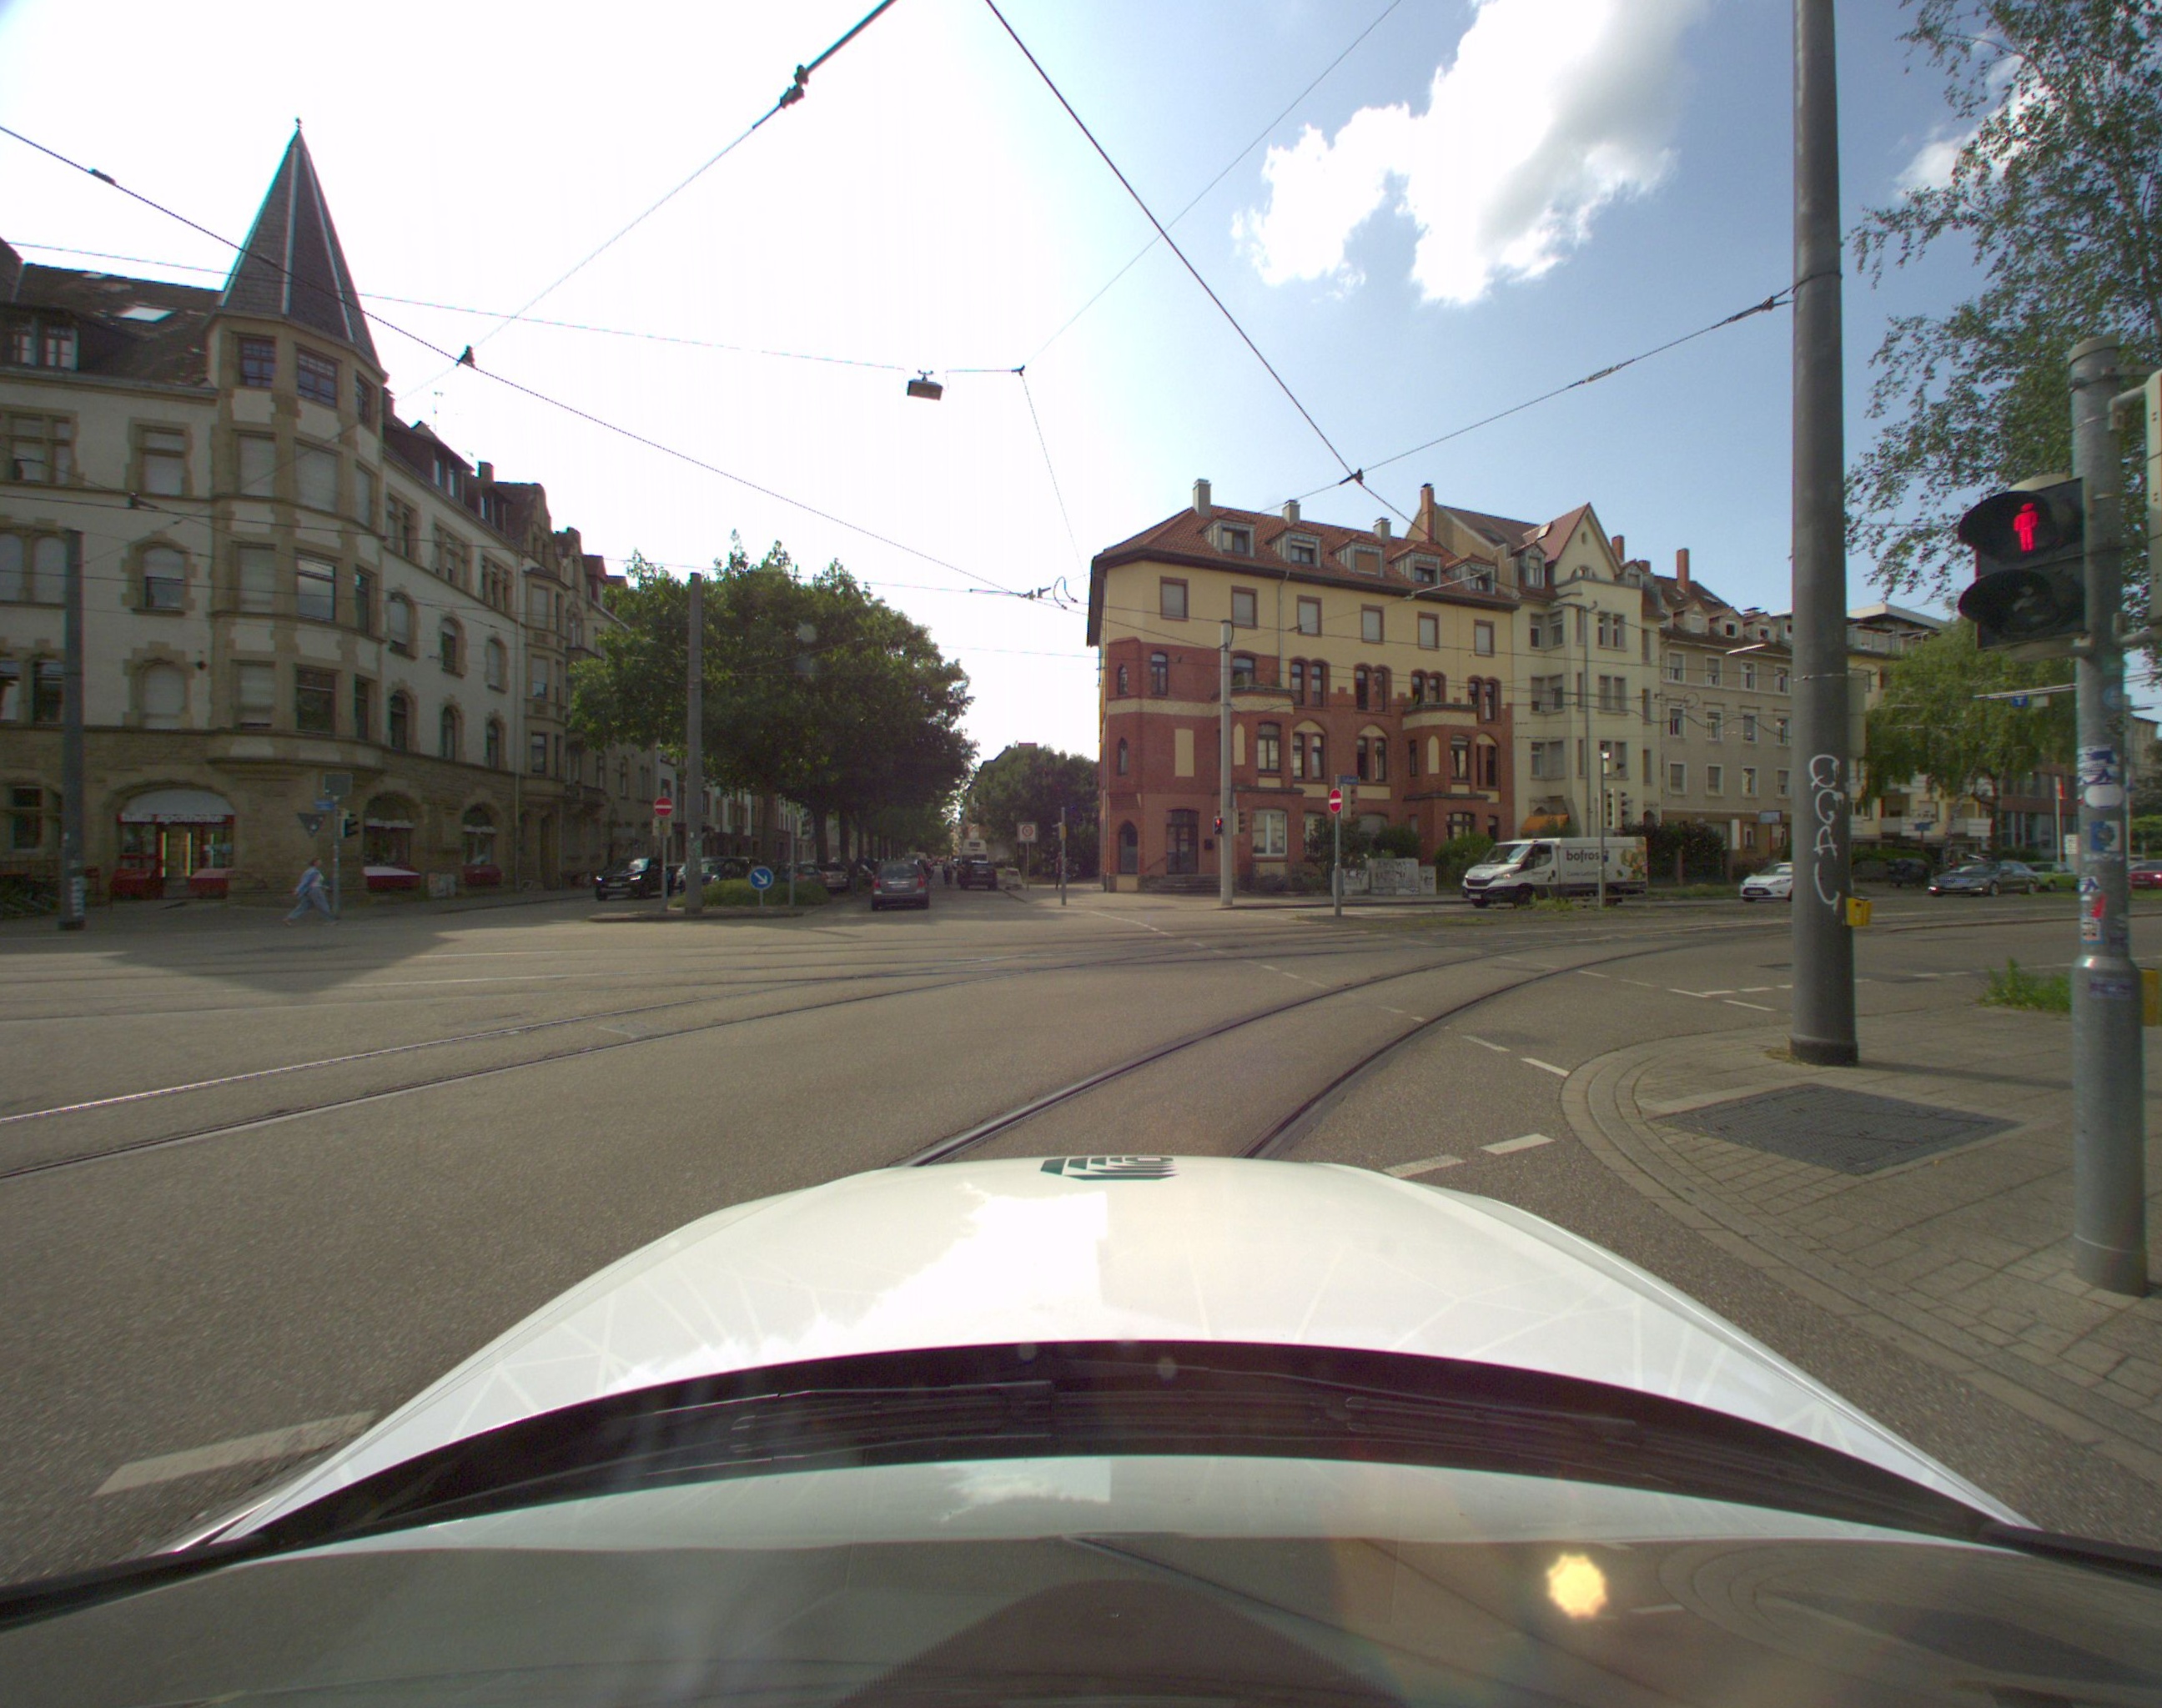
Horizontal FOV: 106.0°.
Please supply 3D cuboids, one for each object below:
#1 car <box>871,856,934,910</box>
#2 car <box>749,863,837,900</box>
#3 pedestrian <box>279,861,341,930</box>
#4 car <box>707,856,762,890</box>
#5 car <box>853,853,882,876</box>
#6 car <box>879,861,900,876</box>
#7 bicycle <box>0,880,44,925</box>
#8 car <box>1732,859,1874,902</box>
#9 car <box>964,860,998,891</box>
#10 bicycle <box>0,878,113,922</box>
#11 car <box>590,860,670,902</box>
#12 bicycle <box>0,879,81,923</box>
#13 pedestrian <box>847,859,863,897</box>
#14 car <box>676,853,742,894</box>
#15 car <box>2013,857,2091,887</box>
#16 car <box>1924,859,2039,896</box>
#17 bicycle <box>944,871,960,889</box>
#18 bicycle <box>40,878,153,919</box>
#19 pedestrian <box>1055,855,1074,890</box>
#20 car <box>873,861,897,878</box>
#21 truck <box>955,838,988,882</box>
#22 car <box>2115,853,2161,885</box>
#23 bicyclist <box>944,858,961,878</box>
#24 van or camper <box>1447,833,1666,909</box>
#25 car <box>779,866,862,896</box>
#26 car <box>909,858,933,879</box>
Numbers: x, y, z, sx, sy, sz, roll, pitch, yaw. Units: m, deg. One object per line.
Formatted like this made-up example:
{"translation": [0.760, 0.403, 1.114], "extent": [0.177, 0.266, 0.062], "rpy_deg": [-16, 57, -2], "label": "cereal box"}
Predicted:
{"translation": [-5.796, 0.904, 26.748], "extent": [1.722, 1.605, 3.666], "rpy_deg": [-1, 0, -8], "label": "car"}
{"translation": [-12.773, 1.170, 36.032], "extent": [3.949, 1.495, 1.987], "rpy_deg": [-1, -1, 41], "label": "car"}
{"translation": [-19.855, 1.036, 20.987], "extent": [0.766, 1.722, 1.030], "rpy_deg": [-1, -1, 36], "label": "pedestrian"}
{"translation": [-17.710, 0.968, 41.767], "extent": [1.997, 1.618, 3.980], "rpy_deg": [-1, 0, -14], "label": "car"}
{"translation": [-15.654, 0.788, 59.831], "extent": [1.752, 1.633, 3.488], "rpy_deg": [0, 0, -9], "label": "car"}
{"translation": [-18.852, 1.411, 80.196], "extent": [1.752, 1.517, 3.488], "rpy_deg": [0, 0, -9], "label": "car"}
{"translation": [-27.085, 1.209, 19.953], "extent": [1.922, 1.081, 0.773], "rpy_deg": [-1, -1, -20], "label": "bicycle"}
{"translation": [25.967, 0.923, 29.336], "extent": [4.012, 1.439, 1.926], "rpy_deg": [0, -1, -14], "label": "car"}
{"translation": [-5.530, 1.161, 45.252], "extent": [1.750, 1.633, 3.492], "rpy_deg": [0, 0, -6], "label": "car"}
{"translation": [-27.985, 1.240, 22.192], "extent": [1.922, 1.081, 0.773], "rpy_deg": [-1, -1, -20], "label": "bicycle"}
{"translation": [-19.153, 1.109, 34.777], "extent": [1.997, 1.618, 3.980], "rpy_deg": [-1, 0, -14], "label": "car"}
{"translation": [-27.572, 1.226, 21.129], "extent": [1.922, 1.081, 0.773], "rpy_deg": [-1, -1, -20], "label": "bicycle"}
{"translation": [-10.462, 1.109, 37.696], "extent": [0.651, 1.725, 0.493], "rpy_deg": [0, -1, -6], "label": "pedestrian"}
{"translation": [-16.675, 0.842, 36.721], "extent": [1.997, 1.728, 3.980], "rpy_deg": [-1, 0, -14], "label": "car"}
{"translation": [46.713, 0.833, 39.198], "extent": [3.191, 1.386, 1.555], "rpy_deg": [0, 0, -23], "label": "car"}
{"translation": [36.065, 0.900, 32.604], "extent": [3.990, 1.371, 2.215], "rpy_deg": [0, -1, -29], "label": "car"}
{"translation": [-7.395, 1.491, 46.837], "extent": [0.748, 0.958, 2.294], "rpy_deg": [-1, 0, -5], "label": "bicycle"}
{"translation": [-28.267, 1.253, 23.416], "extent": [1.922, 1.081, 0.773], "rpy_deg": [-1, -1, -20], "label": "bicycle"}
{"translation": [-0.784, 0.876, 39.147], "extent": [0.867, 1.657, 0.735], "rpy_deg": [0, -1, -5], "label": "pedestrian"}
{"translation": [-17.679, 1.365, 73.552], "extent": [1.752, 1.517, 3.488], "rpy_deg": [0, 0, -9], "label": "car"}
{"translation": [-7.730, 0.403, 57.887], "extent": [2.120, 2.970, 3.992], "rpy_deg": [-1, 0, -6], "label": "truck"}
{"translation": [50.376, 0.681, 38.065], "extent": [3.357, 1.442, 1.703], "rpy_deg": [0, 0, -23], "label": "car"}
{"translation": [-7.405, 0.797, 46.890], "extent": [0.835, 1.082, 1.397], "rpy_deg": [-1, 0, -6], "label": "bicyclist"}
{"translation": [15.314, 0.510, 26.254], "extent": [6.539, 2.254, 2.235], "rpy_deg": [0, -1, -17], "label": "van or camper"}
{"translation": [-12.422, 1.254, 38.738], "extent": [3.949, 1.339, 1.987], "rpy_deg": [-1, -1, 41], "label": "car"}
{"translation": [-13.541, 1.176, 69.064], "extent": [1.722, 1.706, 3.666], "rpy_deg": [-1, 0, -8], "label": "car"}
